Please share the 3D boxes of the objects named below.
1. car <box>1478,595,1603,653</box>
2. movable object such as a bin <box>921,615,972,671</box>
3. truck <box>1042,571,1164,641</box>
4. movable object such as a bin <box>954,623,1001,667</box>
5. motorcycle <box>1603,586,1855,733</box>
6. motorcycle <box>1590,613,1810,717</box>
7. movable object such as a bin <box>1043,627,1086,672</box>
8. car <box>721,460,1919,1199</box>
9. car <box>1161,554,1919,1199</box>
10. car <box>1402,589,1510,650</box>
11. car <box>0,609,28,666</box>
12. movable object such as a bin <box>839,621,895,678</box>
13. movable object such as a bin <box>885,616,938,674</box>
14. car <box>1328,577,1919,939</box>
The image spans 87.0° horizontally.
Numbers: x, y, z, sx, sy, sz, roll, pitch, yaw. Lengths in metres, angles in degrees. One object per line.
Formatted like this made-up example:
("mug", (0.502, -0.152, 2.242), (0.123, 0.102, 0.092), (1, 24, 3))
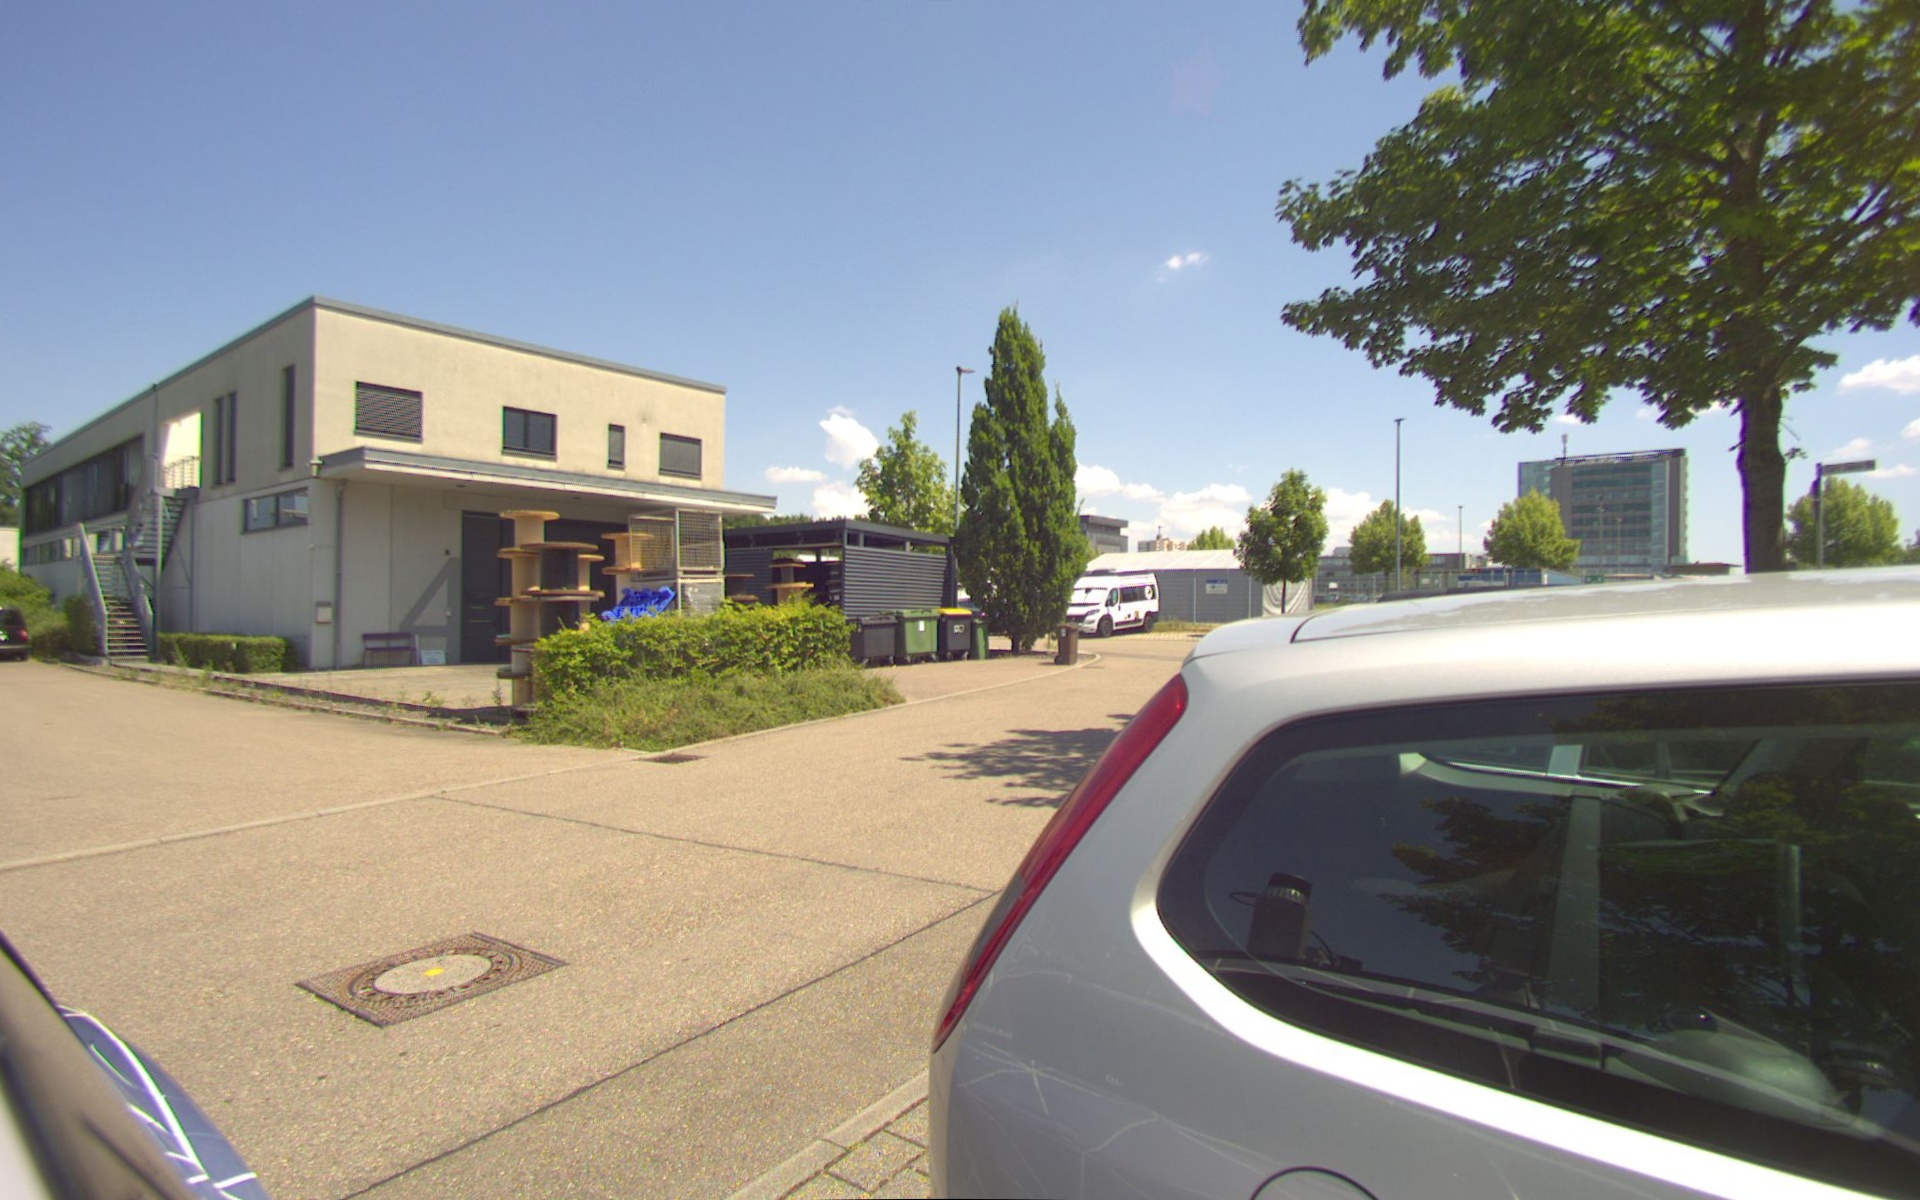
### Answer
("car", (16.654, 0.655, 28.981), (3.934, 1.533, 1.657), (-1, 0, -36))
("movable object such as a bin", (-0.334, 1.072, 25.678), (0.760, 1.346, 1.057), (-1, 0, 44))
("truck", (6.005, 0.225, 41.944), (2.417, 2.692, 5.622), (-1, -1, 40))
("movable object such as a bin", (0.450, 1.165, 26.438), (0.760, 1.092, 0.974), (-1, 0, 44))
("motorcycle", (7.796, 0.589, 10.383), (1.983, 1.400, 0.479), (-2, -1, 32))
("motorcycle", (8.431, 0.725, 11.644), (1.983, 1.117, 0.479), (-2, -1, 32))
("movable object such as a bin", (2.364, 1.112, 22.909), (0.760, 0.977, 0.581), (-1, 0, 45))
("car", (1.967, 0.641, 0.681), (4.338, 1.490, 1.704), (-1, 0, 35))
("car", (2.714, 0.635, 2.886), (3.879, 1.490, 1.635), (-1, 0, 32))
("car", (15.260, 0.560, 31.071), (3.941, 1.751, 1.773), (-1, 0, -45))
("car", (-32.609, 1.238, 33.847), (3.999, 1.817, 1.764), (0, 0, 42))
("movable object such as a bin", (-2.181, 1.135, 23.767), (0.760, 1.280, 1.057), (-1, 0, 44))
("movable object such as a bin", (-1.182, 1.072, 24.646), (0.760, 1.346, 1.057), (-1, 0, 44))
("car", (3.998, 0.637, 4.952), (3.879, 1.459, 1.635), (-1, 0, 32))
